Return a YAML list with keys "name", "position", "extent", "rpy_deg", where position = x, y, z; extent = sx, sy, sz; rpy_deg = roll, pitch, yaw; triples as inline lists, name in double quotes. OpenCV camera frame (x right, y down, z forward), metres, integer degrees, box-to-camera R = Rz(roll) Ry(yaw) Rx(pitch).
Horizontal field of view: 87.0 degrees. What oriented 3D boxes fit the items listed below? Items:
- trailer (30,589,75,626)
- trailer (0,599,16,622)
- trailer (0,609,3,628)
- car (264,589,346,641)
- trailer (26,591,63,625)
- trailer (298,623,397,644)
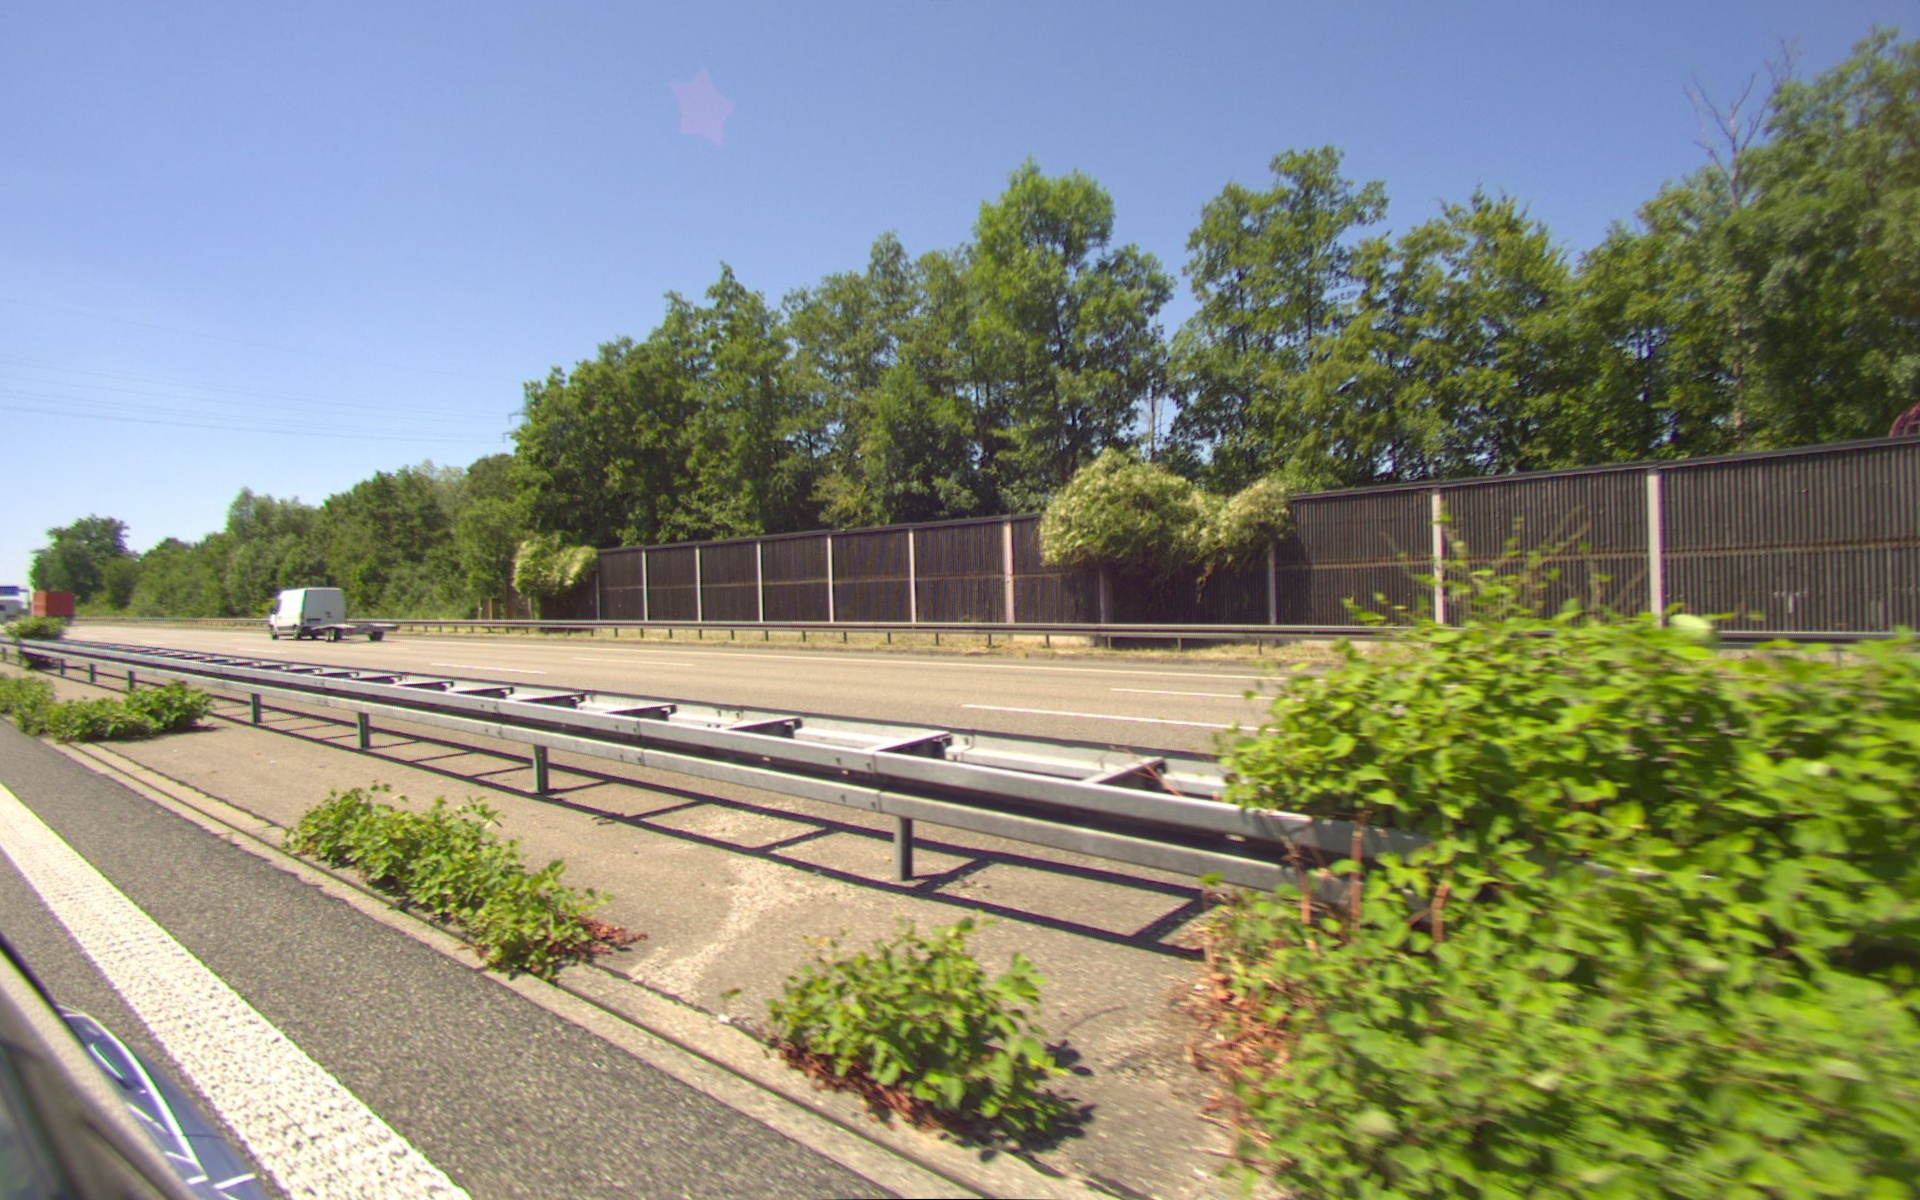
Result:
- name: "trailer"
  position: [-107.265, 0.912, 119.550]
  extent: [14.049, 4.098, 2.655]
  rpy_deg: [-1, 0, 43]
- name: "trailer"
  position: [-174.277, 1.986, 184.875]
  extent: [2.639, 3.996, 13.675]
  rpy_deg: [-1, 0, -43]
- name: "trailer"
  position: [-129.320, 2.489, 134.855]
  extent: [4.953, 2.633, 2.064]
  rpy_deg: [-1, -1, 41]
- name: "car"
  position: [-32.440, 0.736, 50.052]
  extent: [5.410, 2.449, 2.003]
  rpy_deg: [-1, 0, 41]
- name: "trailer"
  position: [-112.452, 0.978, 124.305]
  extent: [6.034, 4.072, 2.660]
  rpy_deg: [-1, 0, 42]
- name: "trailer"
  position: [-28.005, 1.502, 46.141]
  extent: [6.279, 0.813, 2.138]
  rpy_deg: [-1, 0, 42]
